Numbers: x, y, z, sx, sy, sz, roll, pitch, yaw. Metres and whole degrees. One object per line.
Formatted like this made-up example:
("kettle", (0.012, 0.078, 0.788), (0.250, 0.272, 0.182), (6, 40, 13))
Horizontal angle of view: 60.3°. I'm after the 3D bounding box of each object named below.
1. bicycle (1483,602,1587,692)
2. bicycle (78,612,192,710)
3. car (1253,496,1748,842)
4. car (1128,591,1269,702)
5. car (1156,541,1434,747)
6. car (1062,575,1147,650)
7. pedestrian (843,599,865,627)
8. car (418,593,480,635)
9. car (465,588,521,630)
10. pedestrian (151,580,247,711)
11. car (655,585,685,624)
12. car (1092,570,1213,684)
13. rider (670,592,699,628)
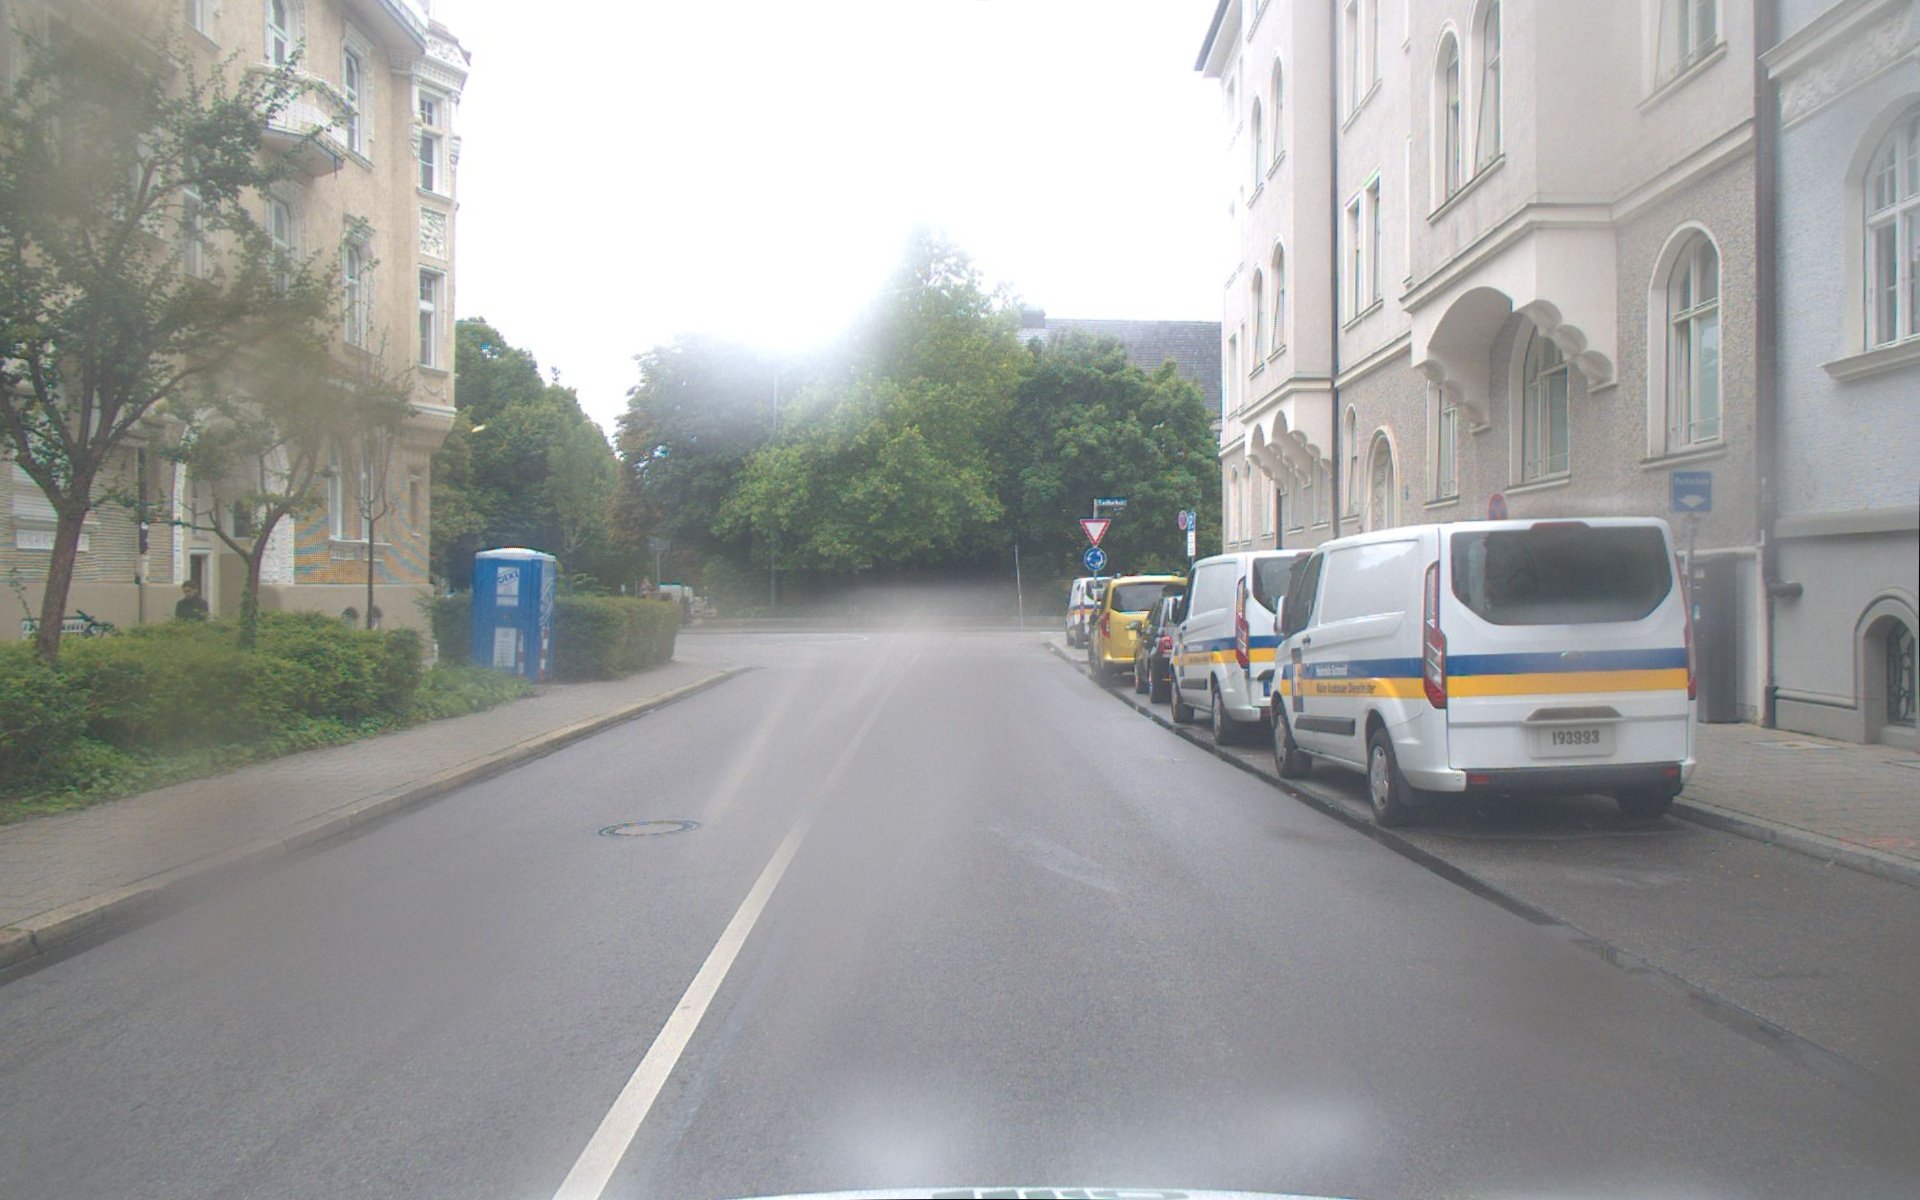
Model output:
("bicycle", (7.721, 0.610, 22.297), (0.680, 1.112, 2.037), (-2, 0, 1))
("bicycle", (-11.520, 0.833, 23.146), (0.729, 1.298, 1.703), (0, 0, 0))
("car", (3.689, 0.401, 12.423), (1.920, 2.049, 4.991), (-1, 0, -2))
("car", (3.479, 0.635, 24.713), (1.598, 1.510, 3.784), (-1, 0, 1))
("car", (3.551, 0.419, 18.542), (1.920, 1.971, 4.991), (-1, 0, -2))
("car", (4.115, 0.327, 47.778), (1.877, 1.996, 4.926), (-2, 0, -1))
("pedestrian", (-4.523, 0.558, 70.820), (0.794, 1.209, 0.920), (-1, 0, 6))
("car", (-24.357, 0.666, 79.004), (1.889, 1.928, 4.861), (0, 0, -6))
("car", (-26.113, 0.498, 92.731), (2.069, 2.290, 5.189), (0, 0, -5))
("pedestrian", (-10.620, 0.618, 23.116), (0.895, 1.782, 0.948), (-1, 0, -1))
("car", (-20.297, 0.303, 115.834), (2.004, 2.603, 5.236), (0, 0, -10))
("car", (3.376, 0.435, 29.773), (1.812, 1.885, 4.822), (0, 0, 2))
("rider", (-13.797, 0.493, 82.755), (1.059, 1.696, 1.140), (-3, 0, 7))
